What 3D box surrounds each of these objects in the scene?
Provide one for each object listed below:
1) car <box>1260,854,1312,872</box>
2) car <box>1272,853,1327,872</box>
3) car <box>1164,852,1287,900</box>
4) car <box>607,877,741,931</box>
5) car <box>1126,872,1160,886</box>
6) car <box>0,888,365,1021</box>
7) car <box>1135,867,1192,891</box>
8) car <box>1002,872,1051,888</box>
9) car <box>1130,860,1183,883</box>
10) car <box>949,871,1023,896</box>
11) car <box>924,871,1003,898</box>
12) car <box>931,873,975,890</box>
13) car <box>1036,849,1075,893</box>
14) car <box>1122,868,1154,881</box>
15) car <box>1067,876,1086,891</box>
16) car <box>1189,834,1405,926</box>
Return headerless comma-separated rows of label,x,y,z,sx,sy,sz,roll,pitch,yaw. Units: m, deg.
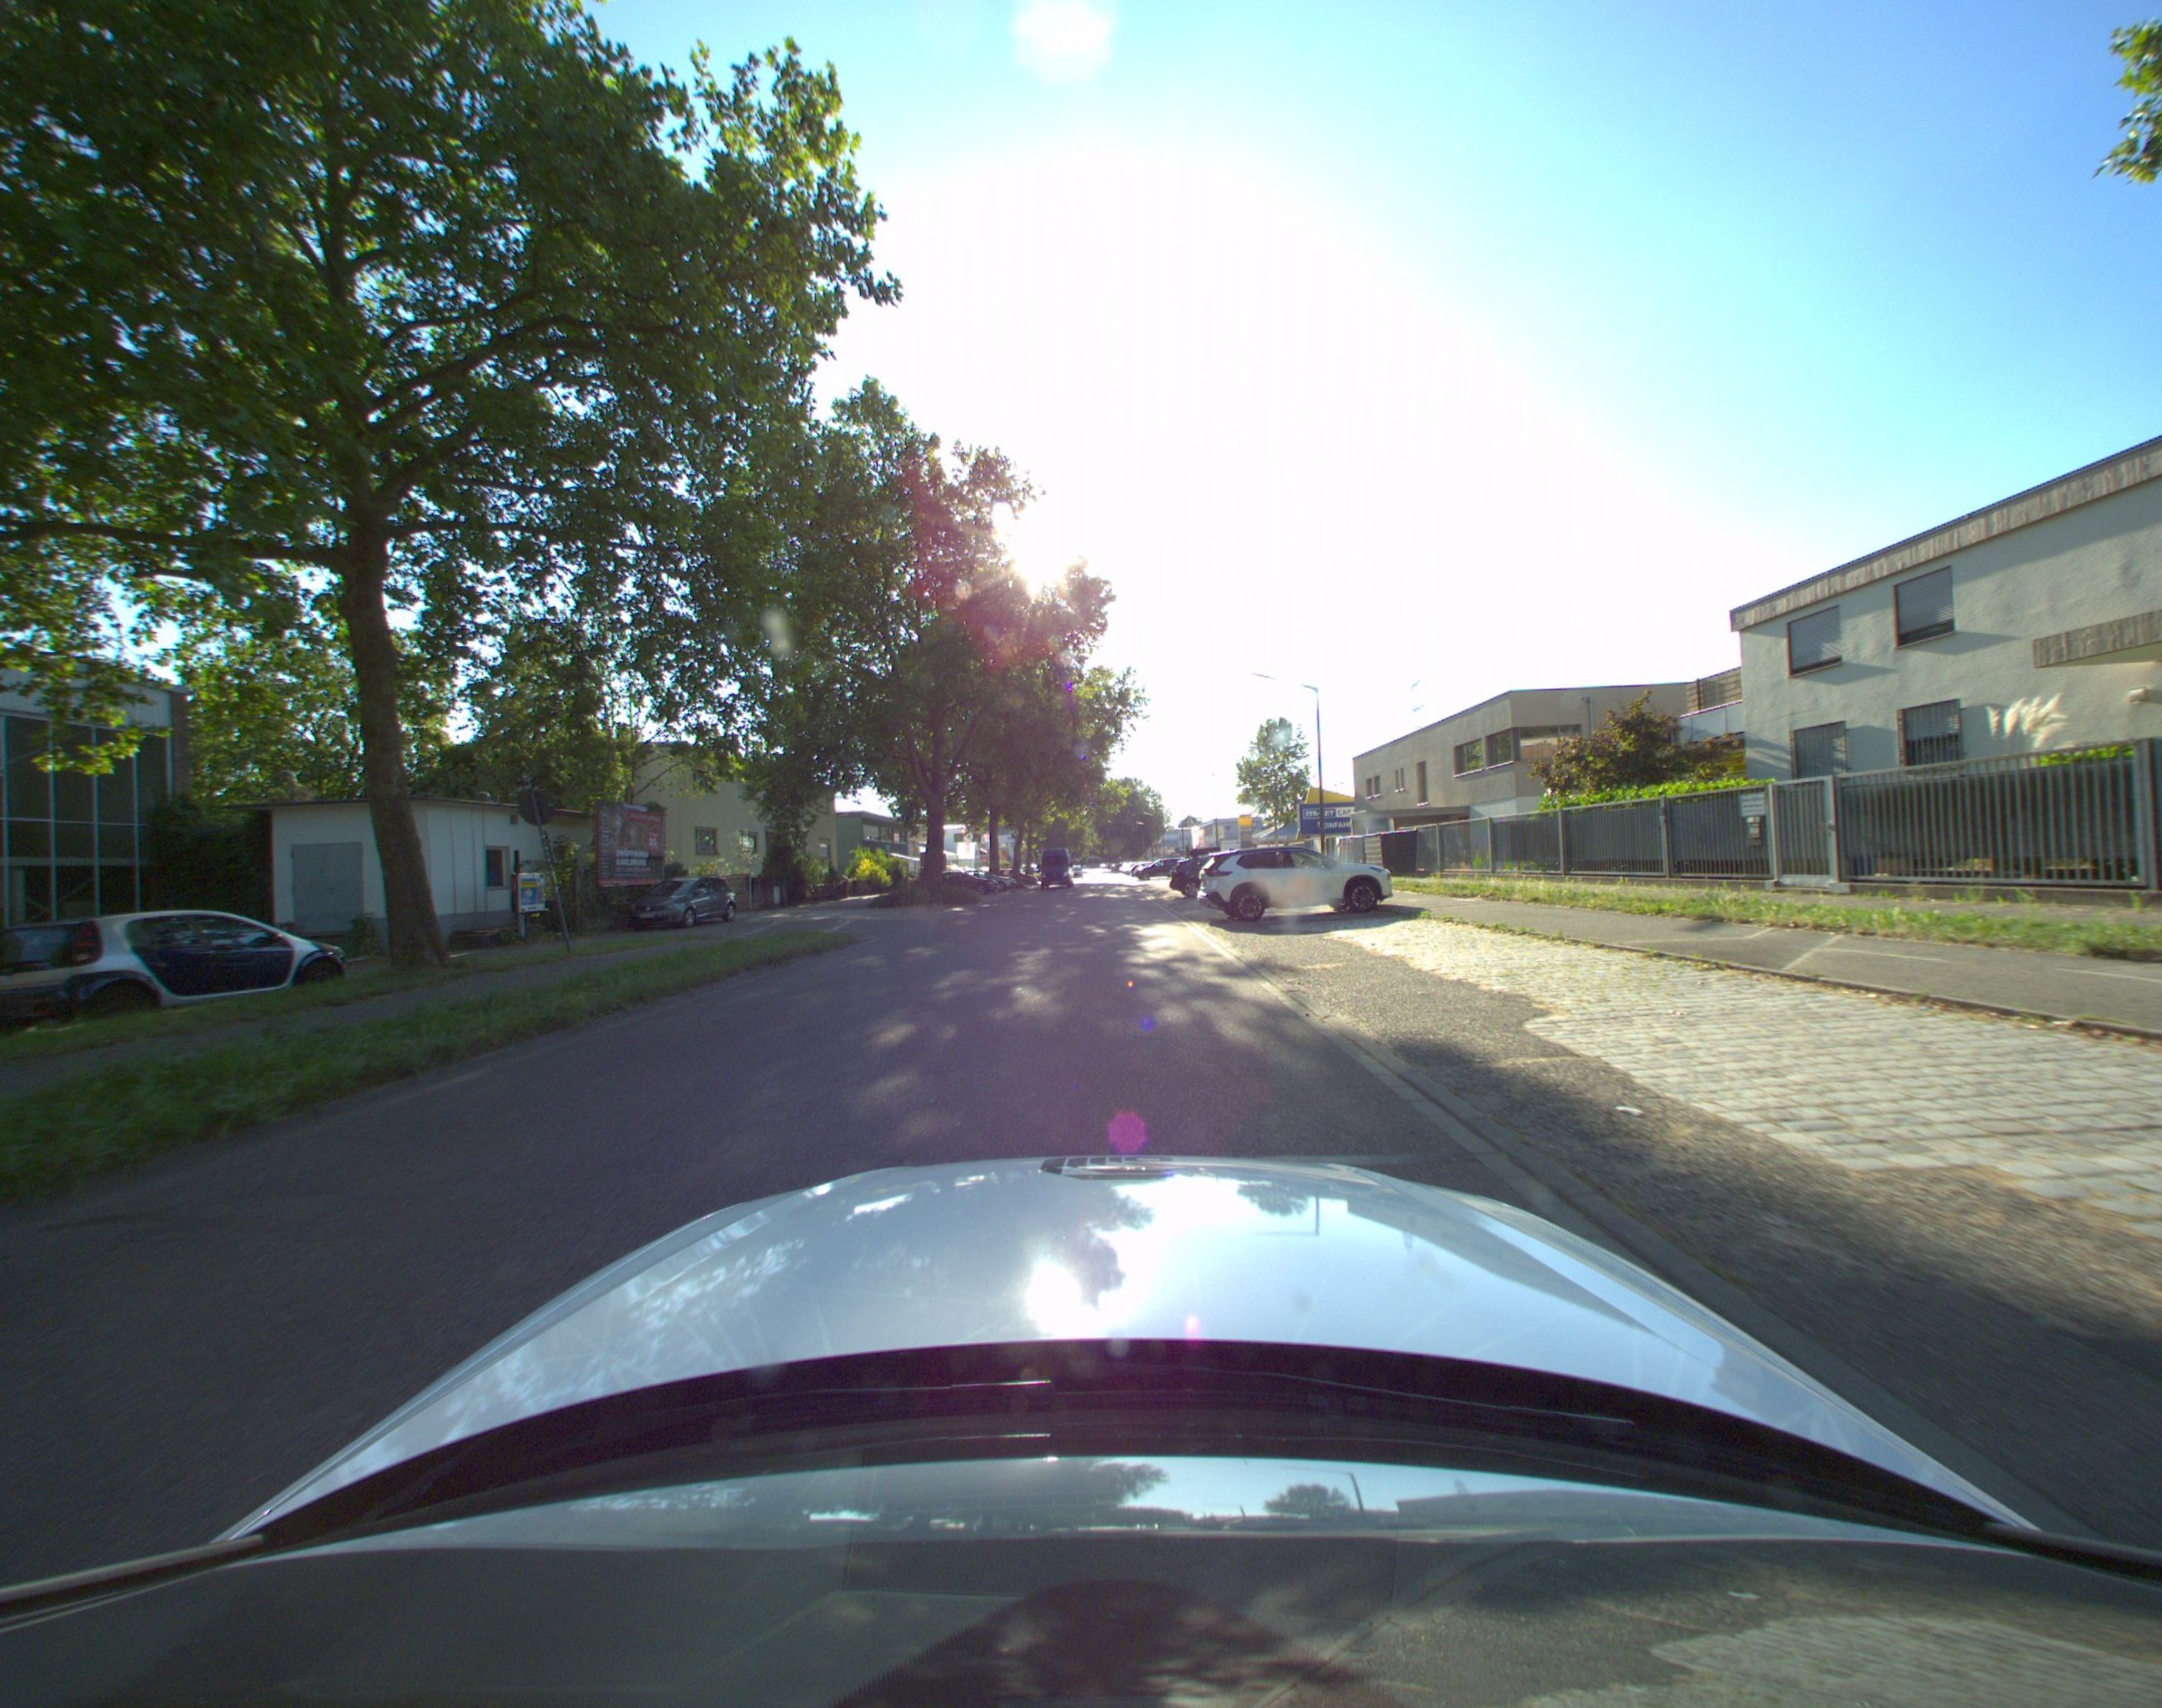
car,17.849,0.814,71.074,3.978,1.519,1.951,-1,-2,-3
car,18.027,0.727,67.334,3.978,1.497,1.997,-1,-2,-3
car,5.915,0.920,33.725,4.611,1.526,1.999,-5,-2,-1
car,-13.036,1.561,26.441,1.985,1.576,4.276,-1,-2,3
car,7.800,3.137,102.774,3.977,1.588,1.865,-3,-2,-3
car,-12.429,1.276,11.032,1.989,1.370,3.915,-6,-2,-3
car,6.884,2.081,68.256,4.582,1.580,2.001,-5,-2,3
car,-4.974,2.359,74.186,4.281,1.447,2.000,0,-2,0
car,6.811,1.593,73.717,4.585,1.613,2.000,-5,-2,0
car,-6.283,1.948,54.046,4.584,1.422,2.000,-2,-1,0
car,-6.935,1.801,48.365,4.341,1.422,1.999,-2,-1,-1
car,-14.515,3.150,92.641,4.731,1.820,1.999,-1,-2,-1
car,-1.635,1.103,54.687,2.120,2.659,7.003,-3,-1,1
car,8.637,3.167,123.981,4.543,1.598,2.200,-5,-2,-2
car,-0.488,3.287,91.251,1.832,1.571,3.802,-4,-2,1
car,5.144,0.627,19.870,4.611,1.712,1.999,-5,-2,-1
